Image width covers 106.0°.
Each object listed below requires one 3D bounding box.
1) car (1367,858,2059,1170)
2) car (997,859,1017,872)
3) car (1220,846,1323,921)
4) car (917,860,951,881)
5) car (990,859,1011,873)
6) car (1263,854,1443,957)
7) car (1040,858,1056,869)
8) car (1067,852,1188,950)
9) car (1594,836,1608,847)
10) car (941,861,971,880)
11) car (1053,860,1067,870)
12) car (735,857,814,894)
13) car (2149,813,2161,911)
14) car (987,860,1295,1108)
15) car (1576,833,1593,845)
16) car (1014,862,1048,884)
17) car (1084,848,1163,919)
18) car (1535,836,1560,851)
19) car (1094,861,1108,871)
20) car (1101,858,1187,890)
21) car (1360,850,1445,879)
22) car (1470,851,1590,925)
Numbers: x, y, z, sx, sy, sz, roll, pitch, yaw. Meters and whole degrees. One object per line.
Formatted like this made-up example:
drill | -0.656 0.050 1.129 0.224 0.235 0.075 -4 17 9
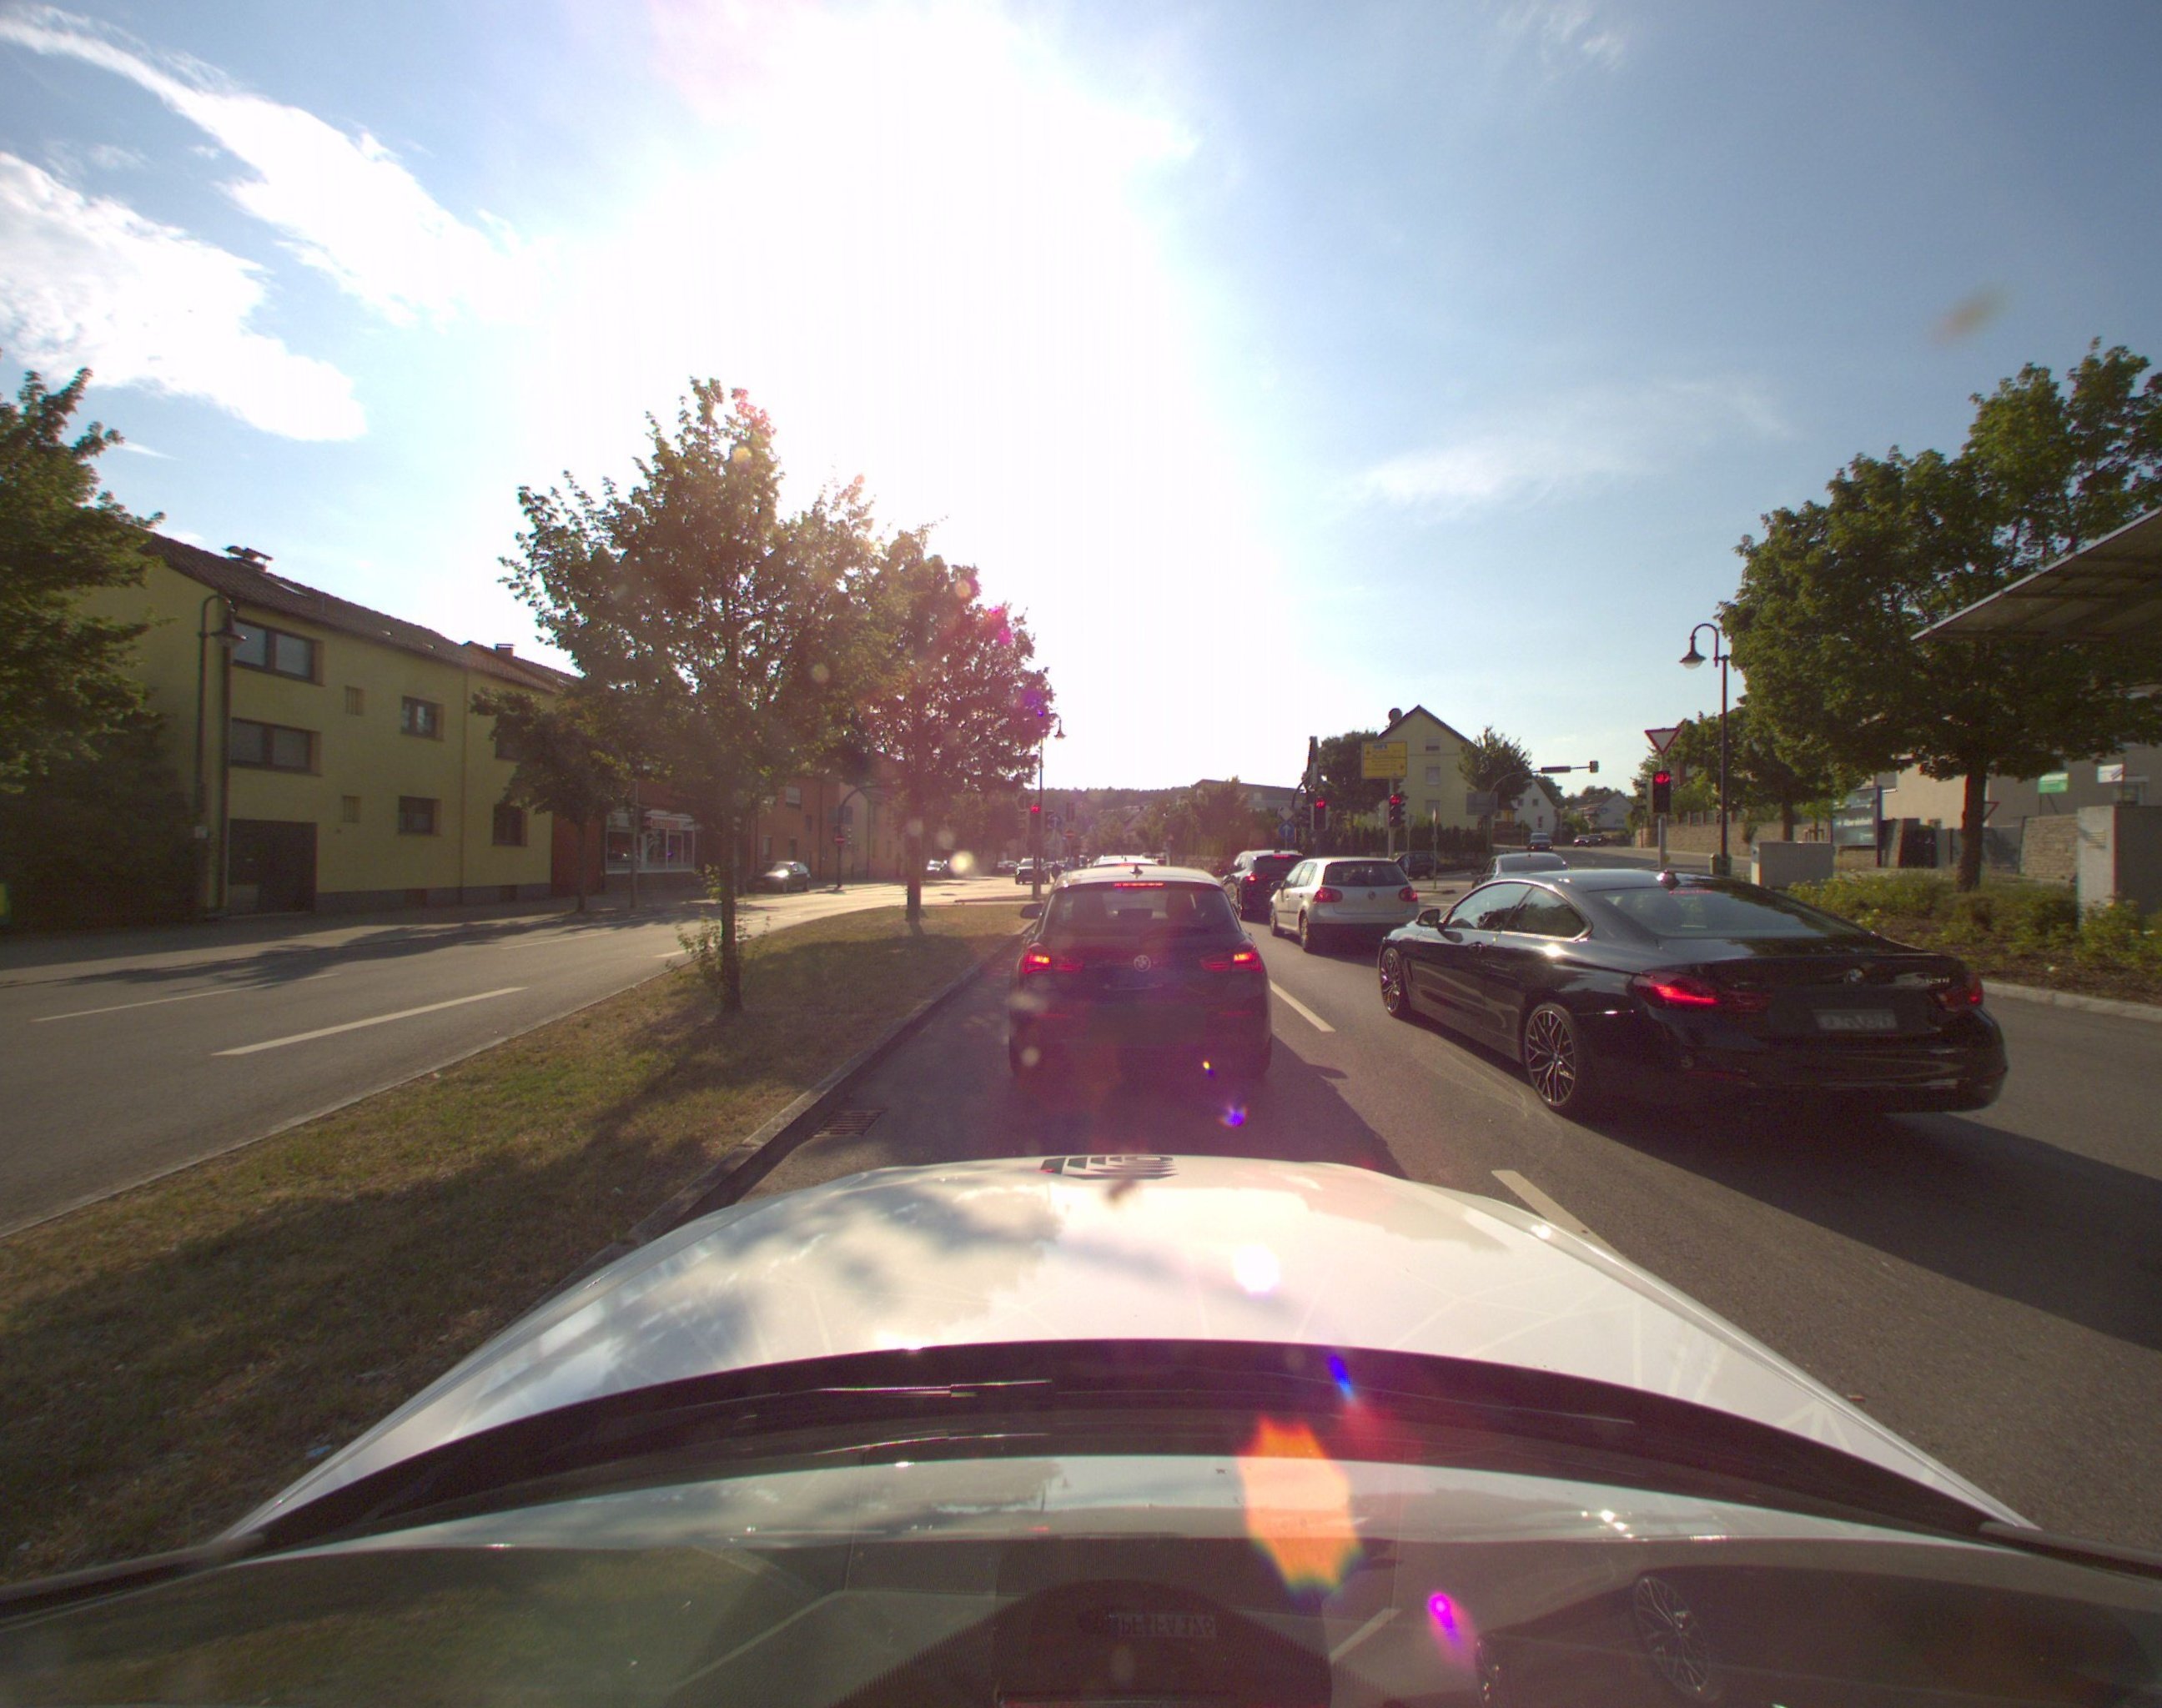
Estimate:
car | 3.627 0.742 5.884 1.808 1.388 4.351 -1 0 3
car | -9.317 1.395 103.226 1.916 1.596 4.004 0 0 4
car | 4.615 0.667 20.335 1.808 1.666 4.351 -1 0 3
car | -12.138 1.347 67.481 1.916 1.596 4.004 0 0 4
car | -9.624 1.386 97.724 1.916 1.596 4.004 0 0 4
car | 4.347 0.737 13.743 1.808 1.446 4.351 -1 0 3
car | -4.784 1.395 119.073 1.916 1.596 4.004 0 0 4
car | 0.829 0.712 14.375 1.808 1.451 4.245 -1 0 3
car | 81.880 -1.920 128.204 1.759 1.580 4.025 -1 0 35
car | -11.287 1.485 73.731 1.916 1.596 4.004 0 0 4
car | -3.295 1.753 130.743 1.916 1.596 4.004 0 0 4
car | -14.211 0.955 38.003 1.835 1.552 4.005 2 0 5
car | 19.539 0.123 12.222 3.958 1.608 1.861 0 0 14
car | 0.476 0.780 6.950 1.783 1.414 4.351 -1 0 3
car | 67.877 -1.986 109.723 1.759 1.580 4.025 -1 0 35
car | -3.199 1.194 52.367 1.685 1.353 4.004 0 0 4
car | 1.116 0.698 21.060 1.808 1.641 4.245 -1 0 3
car | 38.526 -0.886 67.363 1.694 1.244 4.025 -1 1 29
car | 3.259 1.929 133.014 1.858 1.485 4.652 0 0 -4
car | 3.004 0.935 39.329 1.782 1.458 3.951 0 0 -43
car | 17.568 0.578 44.517 4.061 1.507 1.783 0 0 -14
car | 9.895 0.664 18.285 1.667 1.435 4.612 -1 0 20
